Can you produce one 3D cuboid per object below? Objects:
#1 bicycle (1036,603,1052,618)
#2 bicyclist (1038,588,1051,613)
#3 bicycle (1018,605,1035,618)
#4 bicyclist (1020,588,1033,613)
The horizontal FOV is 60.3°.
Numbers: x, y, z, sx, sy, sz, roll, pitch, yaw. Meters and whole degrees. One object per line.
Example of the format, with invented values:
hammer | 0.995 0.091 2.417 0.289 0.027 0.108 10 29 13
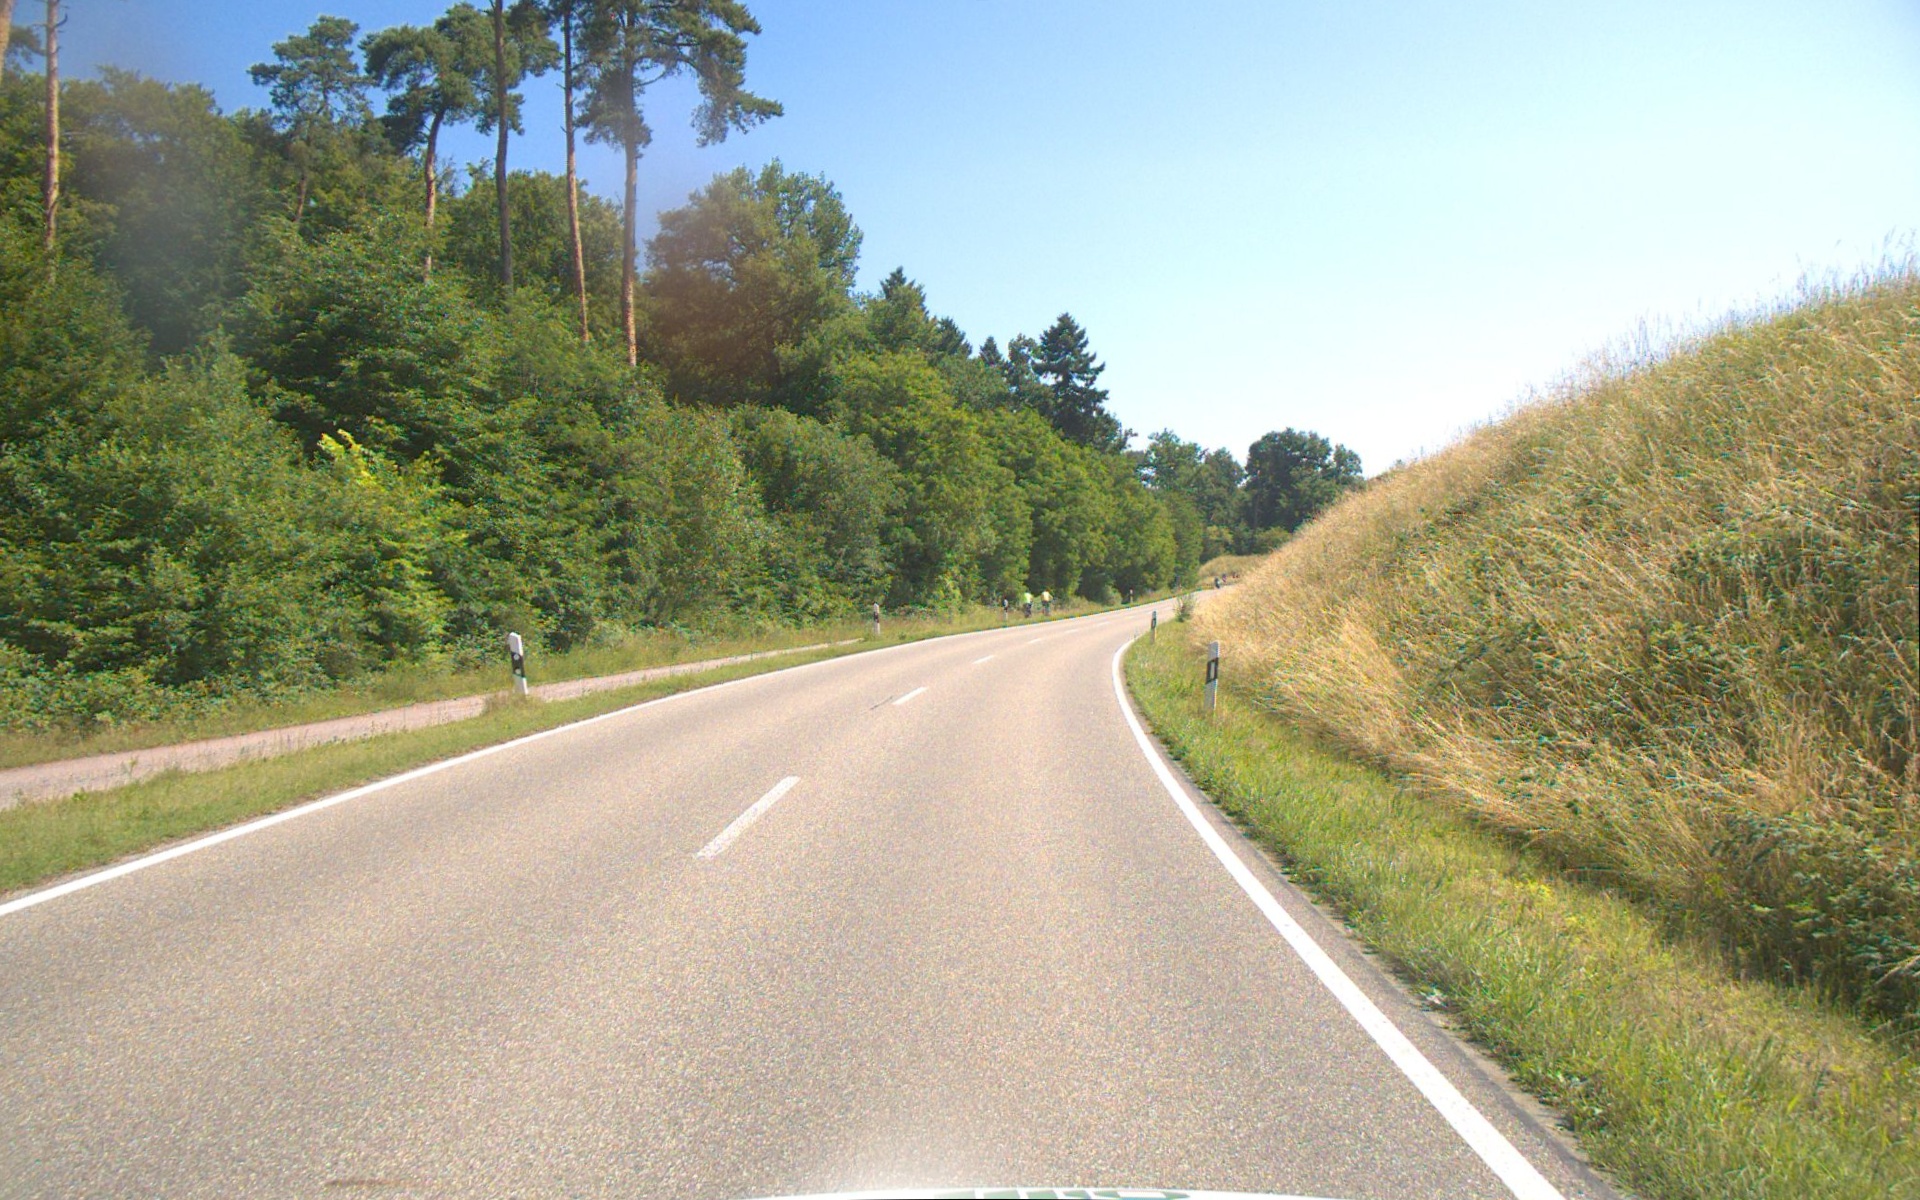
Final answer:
bicycle | 4.869 0.591 95.669 0.626 0.802 2.139 -1 0 12
bicyclist | 4.900 0.047 95.750 0.592 1.440 0.703 -1 0 12
bicycle | 3.851 0.668 96.025 0.606 0.693 2.139 -1 0 12
bicyclist | 3.864 0.021 96.057 0.592 1.440 0.703 1 -1 12
